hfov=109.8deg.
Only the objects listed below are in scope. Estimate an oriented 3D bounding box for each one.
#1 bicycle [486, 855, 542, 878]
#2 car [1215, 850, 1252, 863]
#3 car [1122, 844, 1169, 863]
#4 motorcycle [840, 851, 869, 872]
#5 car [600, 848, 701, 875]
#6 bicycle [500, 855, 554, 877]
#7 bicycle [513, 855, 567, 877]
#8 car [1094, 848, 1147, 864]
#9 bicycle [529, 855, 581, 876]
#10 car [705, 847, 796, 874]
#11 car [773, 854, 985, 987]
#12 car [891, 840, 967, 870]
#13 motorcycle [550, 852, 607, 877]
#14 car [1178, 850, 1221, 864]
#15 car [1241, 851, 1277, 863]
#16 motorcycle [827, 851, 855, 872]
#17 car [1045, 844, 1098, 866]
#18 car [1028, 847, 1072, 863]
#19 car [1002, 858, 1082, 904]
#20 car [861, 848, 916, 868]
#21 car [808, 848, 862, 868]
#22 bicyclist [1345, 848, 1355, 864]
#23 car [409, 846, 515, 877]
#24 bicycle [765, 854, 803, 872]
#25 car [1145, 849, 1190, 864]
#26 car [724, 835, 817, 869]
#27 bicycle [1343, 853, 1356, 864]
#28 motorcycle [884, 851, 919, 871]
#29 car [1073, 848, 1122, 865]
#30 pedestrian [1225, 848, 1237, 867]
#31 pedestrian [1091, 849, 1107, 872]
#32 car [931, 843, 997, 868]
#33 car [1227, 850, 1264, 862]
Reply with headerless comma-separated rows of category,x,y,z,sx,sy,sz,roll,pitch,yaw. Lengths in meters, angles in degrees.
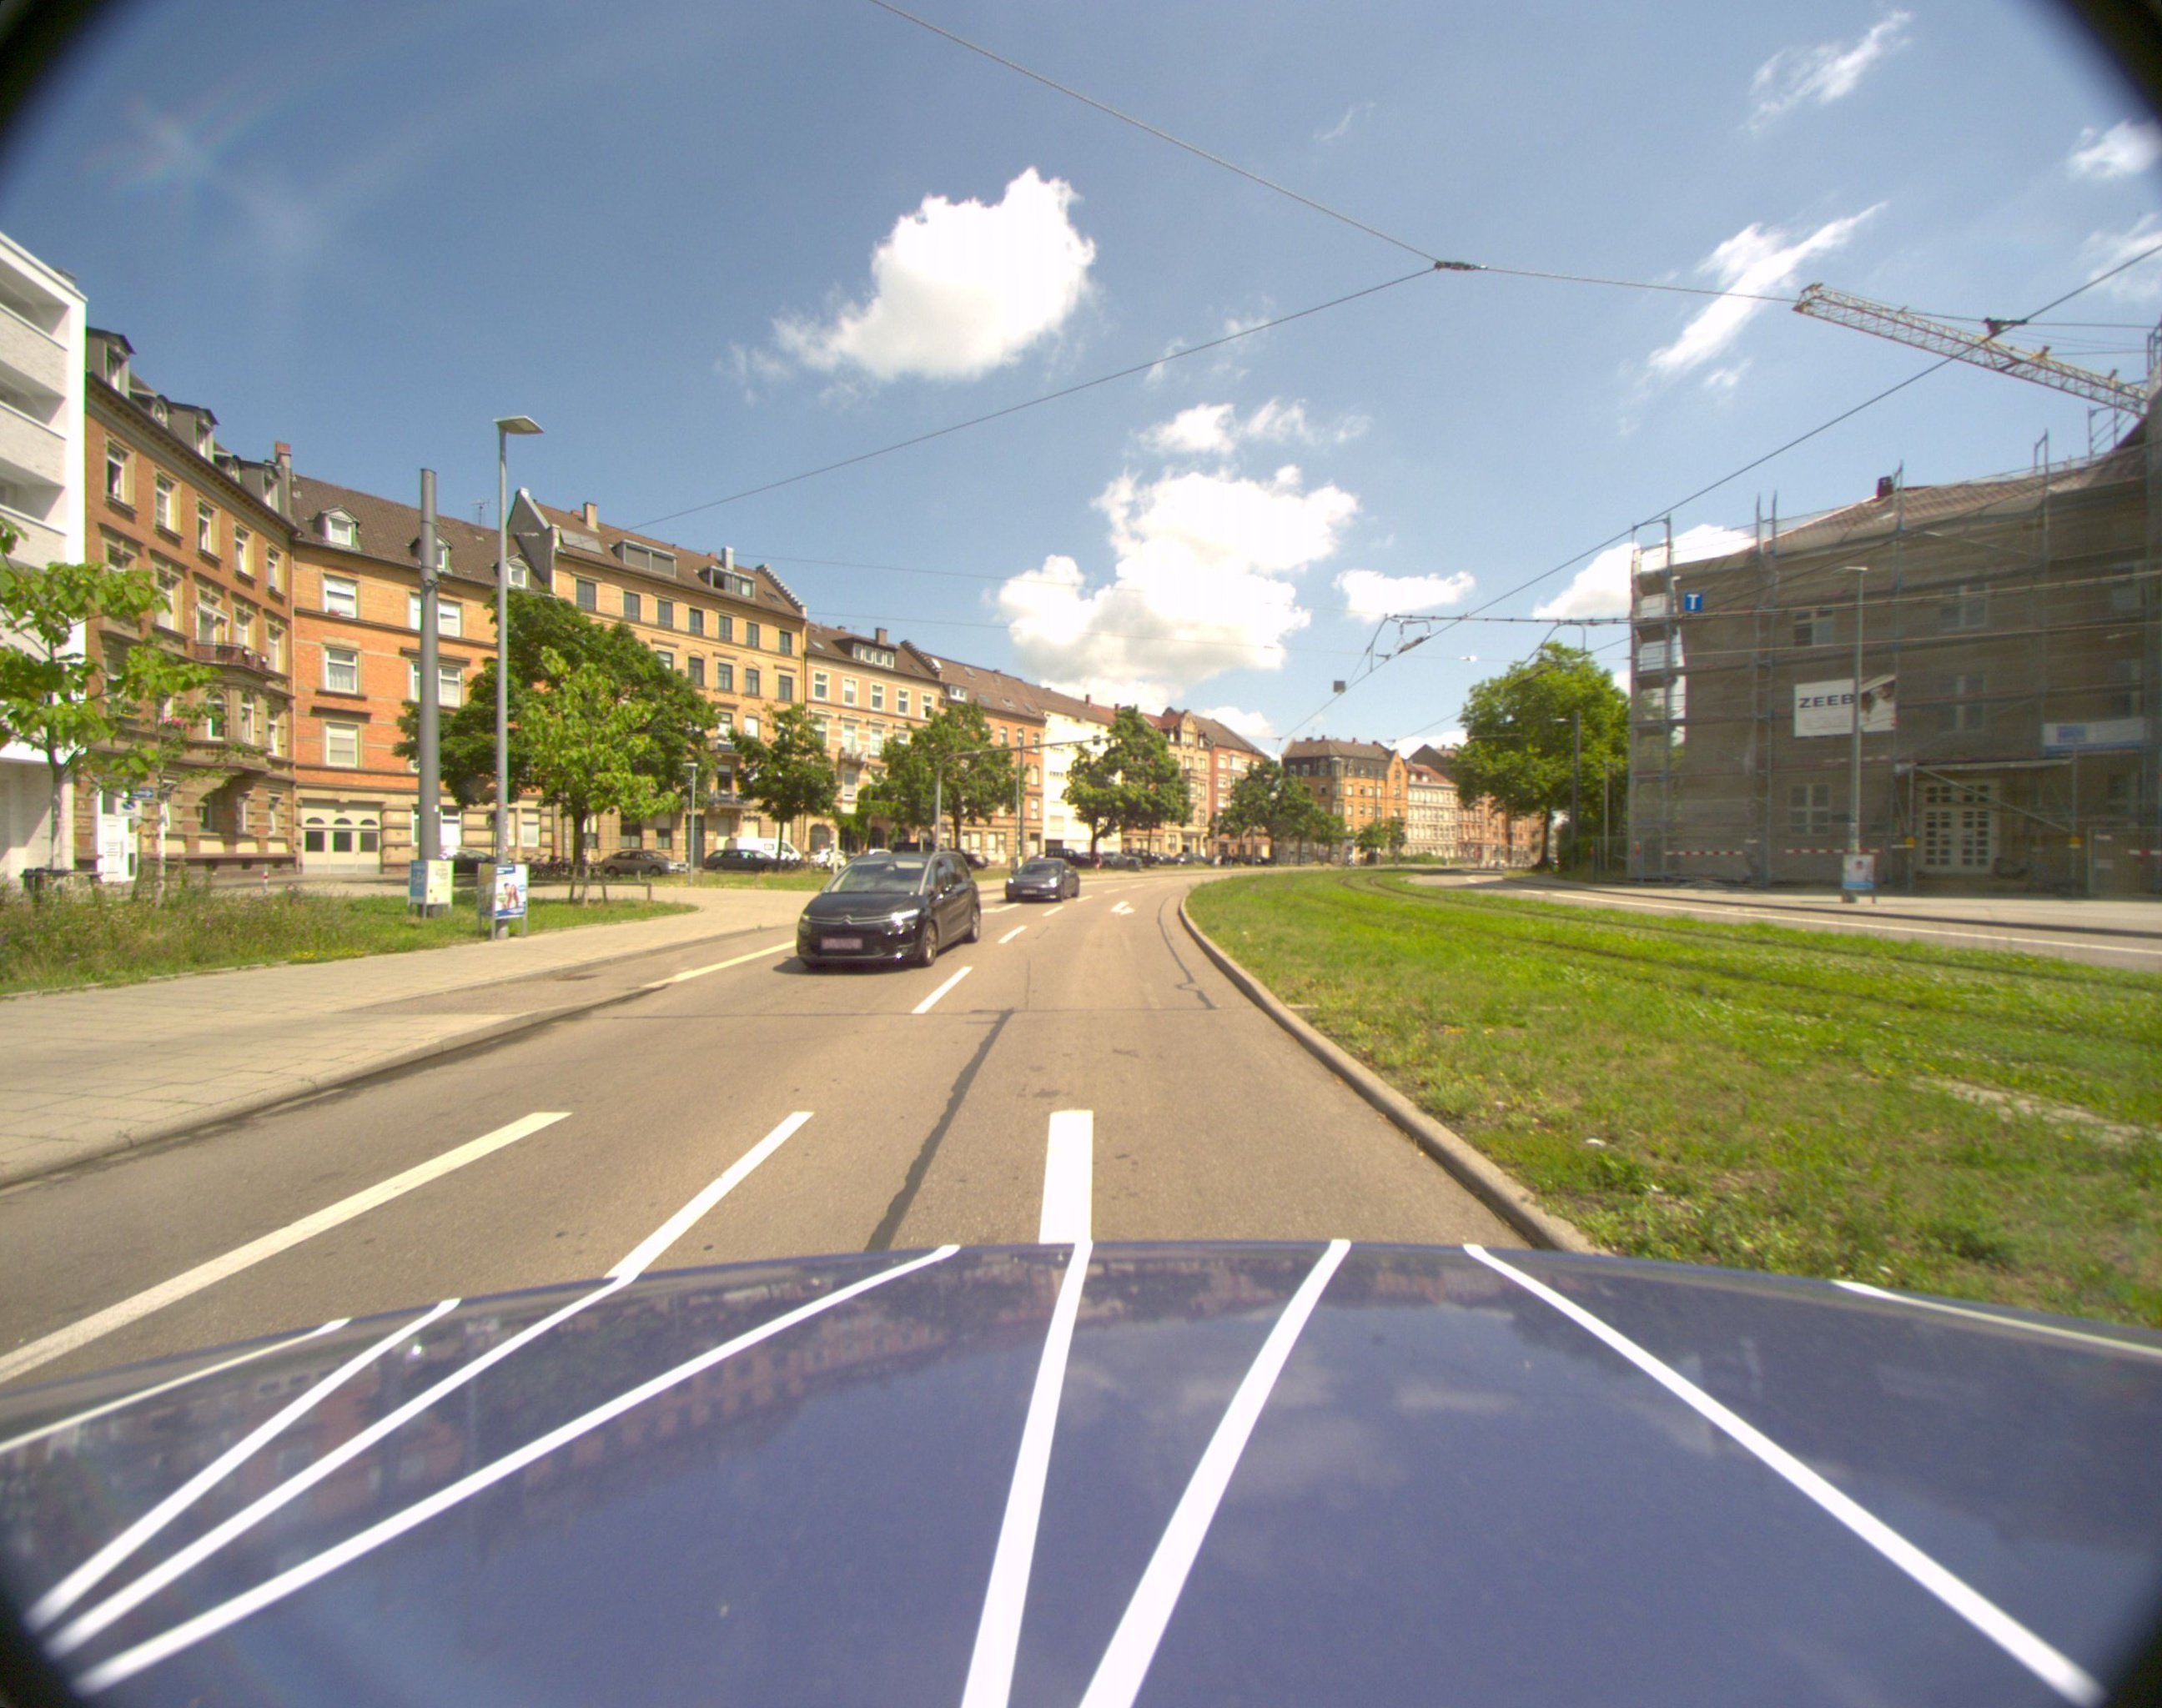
bicycle,-24.417,0.527,32.722,2.387,0.963,0.544,-1,0,16
car,17.061,0.266,85.228,3.993,1.372,1.963,-1,0,12
car,6.057,-0.044,71.358,4.361,1.731,1.853,-1,0,3
motorcycle,-12.971,0.399,43.461,1.783,1.160,0.641,0,1,38
car,-20.893,0.358,36.938,4.156,1.237,1.865,-1,0,15
bicycle,-24.268,0.525,33.276,2.387,0.963,0.544,-1,0,16
bicycle,-24.099,0.524,33.839,2.387,0.963,0.544,-1,0,16
car,3.609,0.202,68.434,4.688,1.372,1.853,-1,0,5
bicycle,-23.900,0.528,34.507,2.387,0.950,0.544,-1,0,16
car,-18.010,0.332,41.468,4.252,1.419,1.807,0,0,10
car,-2.872,0.859,11.864,1.875,1.610,4.189,-1,1,5
car,-10.196,0.049,51.245,4.623,1.916,1.918,-1,0,9
motorcycle,-23.427,0.474,35.409,2.387,1.119,0.814,-1,0,16
car,12.405,0.330,79.513,4.265,1.372,1.853,-1,0,3
car,21.144,0.353,90.093,3.992,1.346,1.964,-1,0,17
motorcycle,-13.522,0.406,42.773,1.783,1.160,0.641,0,1,38
car,-0.799,0.114,63.819,4.144,1.731,1.854,-1,0,9
car,-2.989,0.079,73.624,1.833,1.483,4.236,-1,0,40
car,-1.249,0.853,26.154,1.913,1.386,4.316,-1,0,8
car,-14.867,0.279,58.930,1.659,1.483,3.861,-1,0,40
car,-17.831,0.292,55.164,1.564,1.395,3.358,1,1,42
bicyclist,32.078,0.227,90.621,0.694,1.814,0.958,8,4,42
car,-31.138,0.339,38.288,1.659,1.483,3.861,-1,0,40
bicycle,-15.359,0.475,39.374,0.542,0.896,1.825,-1,0,36
car,8.413,0.278,74.474,4.265,1.372,1.853,-1,0,3
car,-20.822,-0.107,51.185,2.111,2.166,5.405,-1,0,40
bicycle,31.997,0.520,90.566,0.693,1.236,1.843,7,4,42
motorcycle,-10.672,0.391,45.136,1.910,1.160,0.638,0,1,-38
car,1.461,0.177,66.018,4.081,1.397,1.853,-1,0,4
pedestrian,14.041,0.325,71.257,0.700,1.695,1.046,1,4,38
pedestrian,1.292,0.469,53.422,0.700,1.583,0.907,0,1,39
car,-8.228,0.112,53.621,4.167,1.646,1.918,-1,0,13
car,18.939,0.228,87.438,3.995,1.372,1.963,-1,0,7
